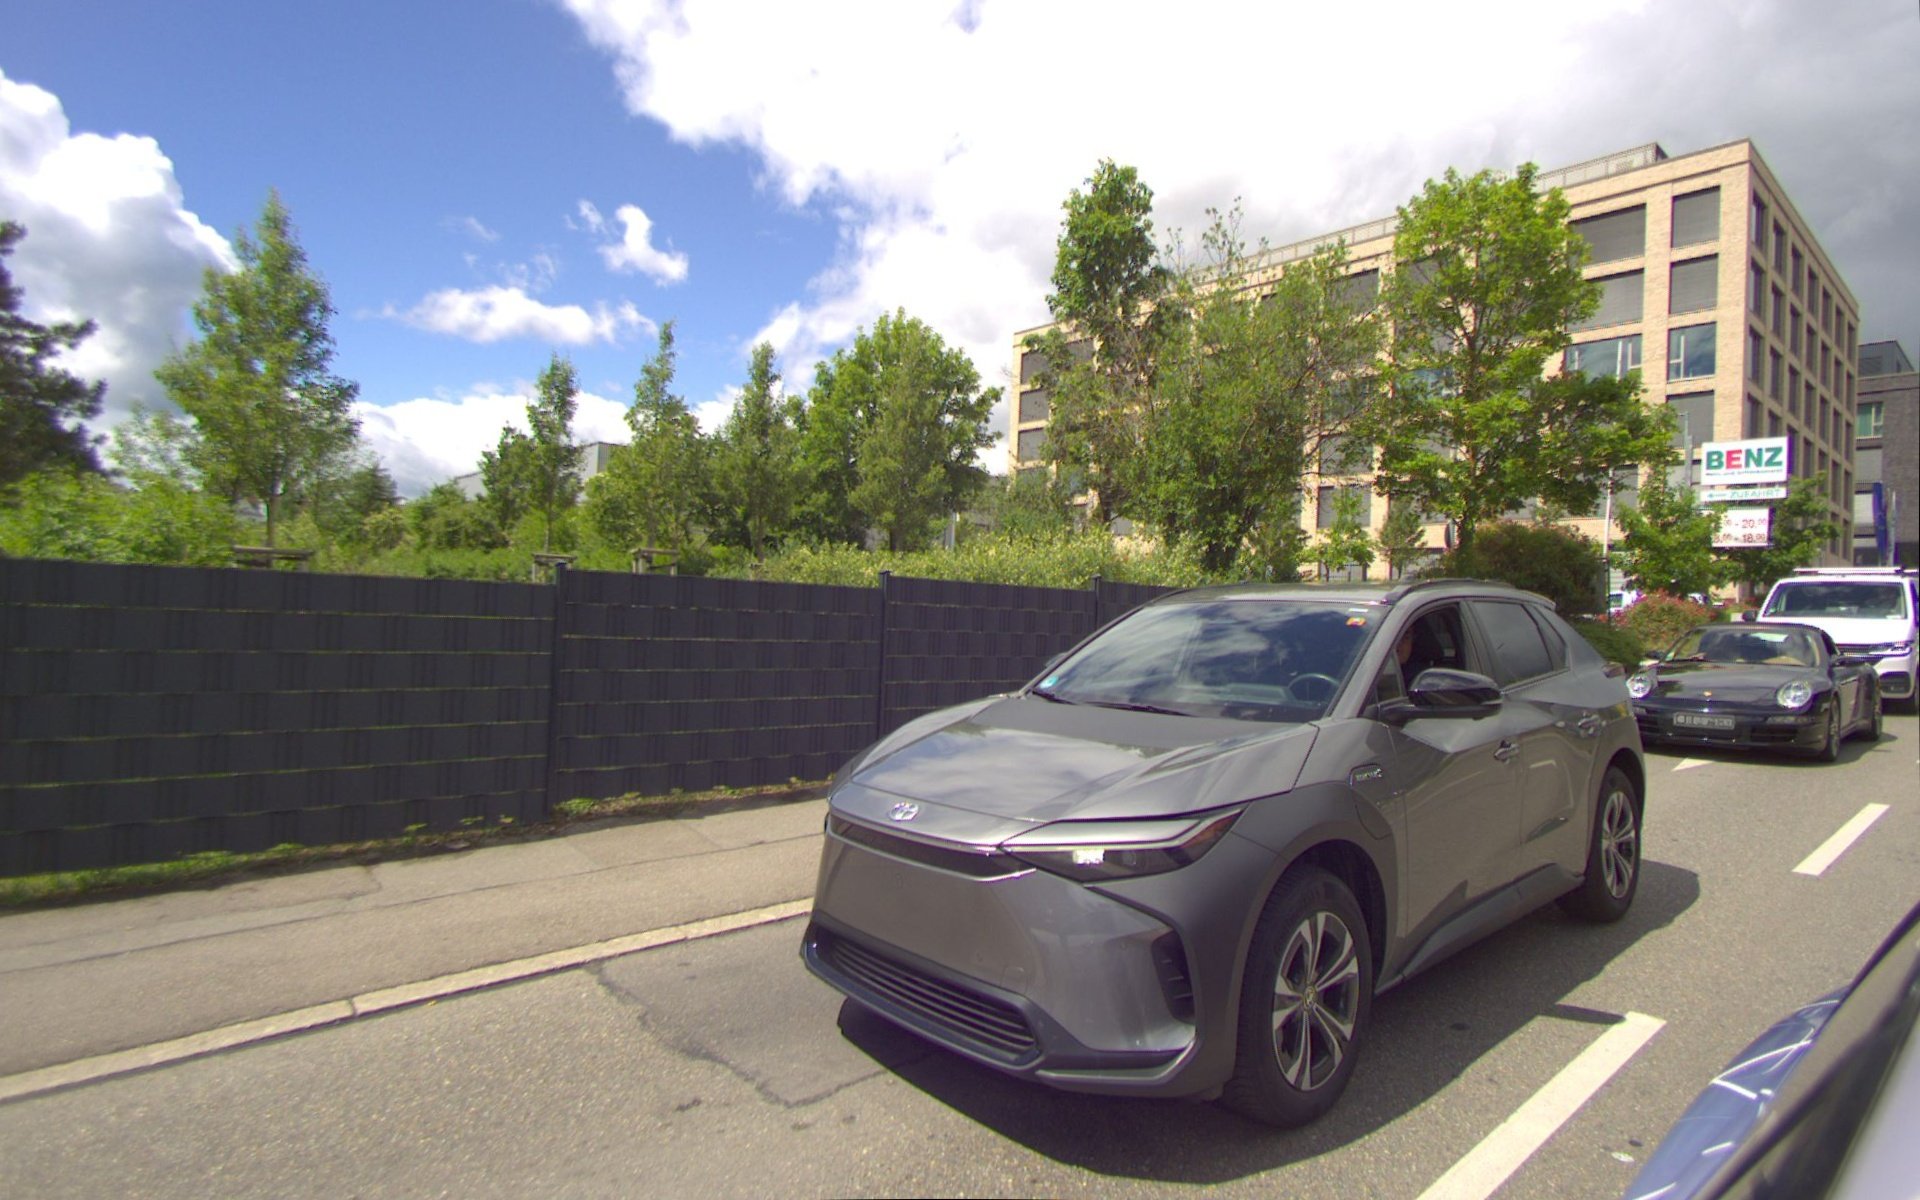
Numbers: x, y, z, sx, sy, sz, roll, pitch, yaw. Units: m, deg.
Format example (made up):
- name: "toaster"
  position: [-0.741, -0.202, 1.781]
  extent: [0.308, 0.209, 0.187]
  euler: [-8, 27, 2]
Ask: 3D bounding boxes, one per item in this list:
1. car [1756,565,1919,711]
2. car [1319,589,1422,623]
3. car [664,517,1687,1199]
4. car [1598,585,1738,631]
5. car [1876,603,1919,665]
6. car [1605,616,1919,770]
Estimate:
- name: "car"
  position: [13.572, 0.500, 15.000]
  extent: [4.563, 1.874, 1.962]
  euler: [0, -1, -41]
- name: "car"
  position: [19.354, 0.242, 47.824]
  extent: [1.705, 1.436, 4.215]
  euler: [1, 1, -41]
- name: "car"
  position: [1.315, 0.662, 4.343]
  extent: [4.601, 1.634, 1.922]
  euler: [0, -1, -41]
- name: "car"
  position: [27.424, 0.288, 39.275]
  extent: [1.707, 1.596, 4.211]
  euler: [1, 1, -44]
- name: "car"
  position: [22.670, 0.759, 23.237]
  extent: [4.486, 1.290, 1.777]
  euler: [0, 2, -39]
- name: "car"
  position: [8.723, 0.833, 10.858]
  extent: [4.487, 1.290, 1.776]
  euler: [0, -1, -40]
